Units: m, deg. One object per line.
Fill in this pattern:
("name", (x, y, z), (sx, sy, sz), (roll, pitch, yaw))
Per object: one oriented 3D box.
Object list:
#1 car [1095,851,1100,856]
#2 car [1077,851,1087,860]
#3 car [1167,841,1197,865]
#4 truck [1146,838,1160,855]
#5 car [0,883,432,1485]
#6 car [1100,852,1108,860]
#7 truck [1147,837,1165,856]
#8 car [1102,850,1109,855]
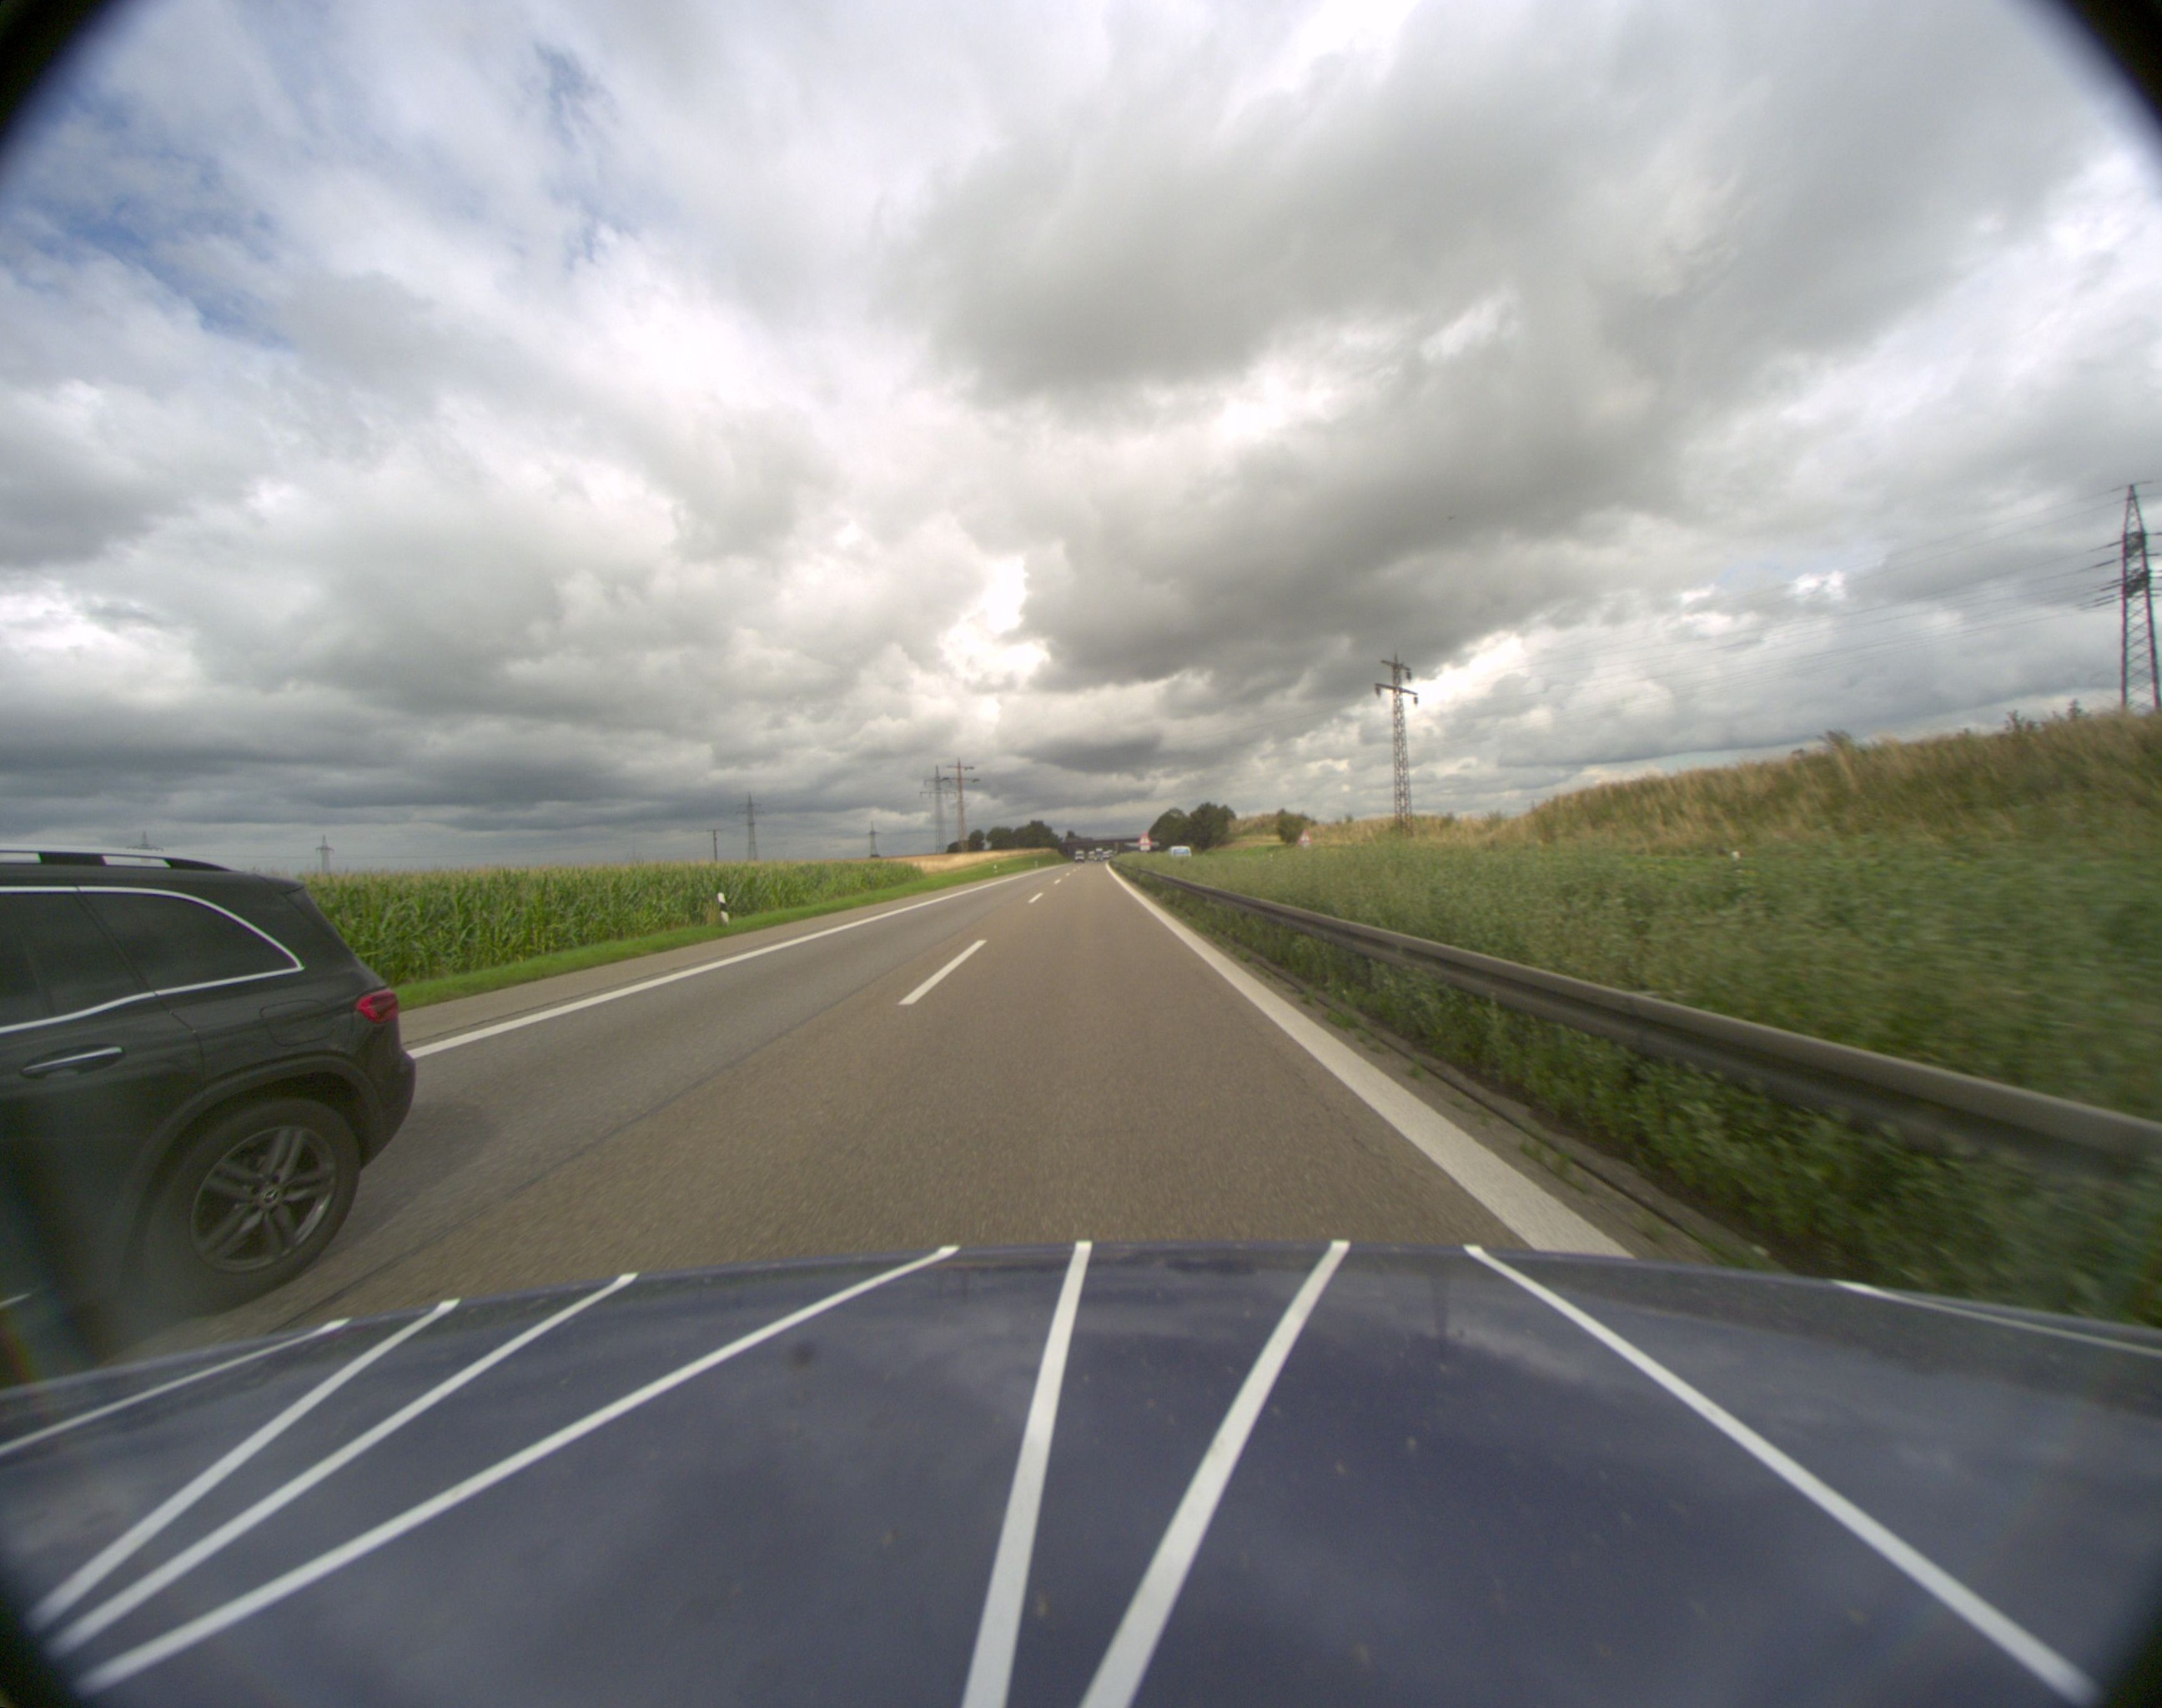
("car", (5.421, -0.155, 247.922), (1.833, 1.849, 5.790), (-1, 0, 1))
("car", (0.202, 0.365, 172.206), (1.998, 1.812, 4.342), (-2, 0, 1))
("car", (9.181, -0.118, 69.550), (1.998, 2.002, 5.531), (-3, 1, 1))
("truck", (16.894, -1.787, 178.443), (2.729, 3.913, 5.987), (-2, 0, 2))
("car", (-3.941, 0.983, 1.291), (1.838, 1.600, 4.360), (-2, 1, 1))
("car", (5.566, 0.475, 184.598), (1.998, 1.695, 4.663), (-4, -1, 1))
("truck", (16.531, -1.720, 168.493), (2.729, 3.913, 17.402), (-2, 0, 2))
("car", (8.061, -0.593, 252.091), (1.998, 1.698, 4.000), (-2, 0, 0))
